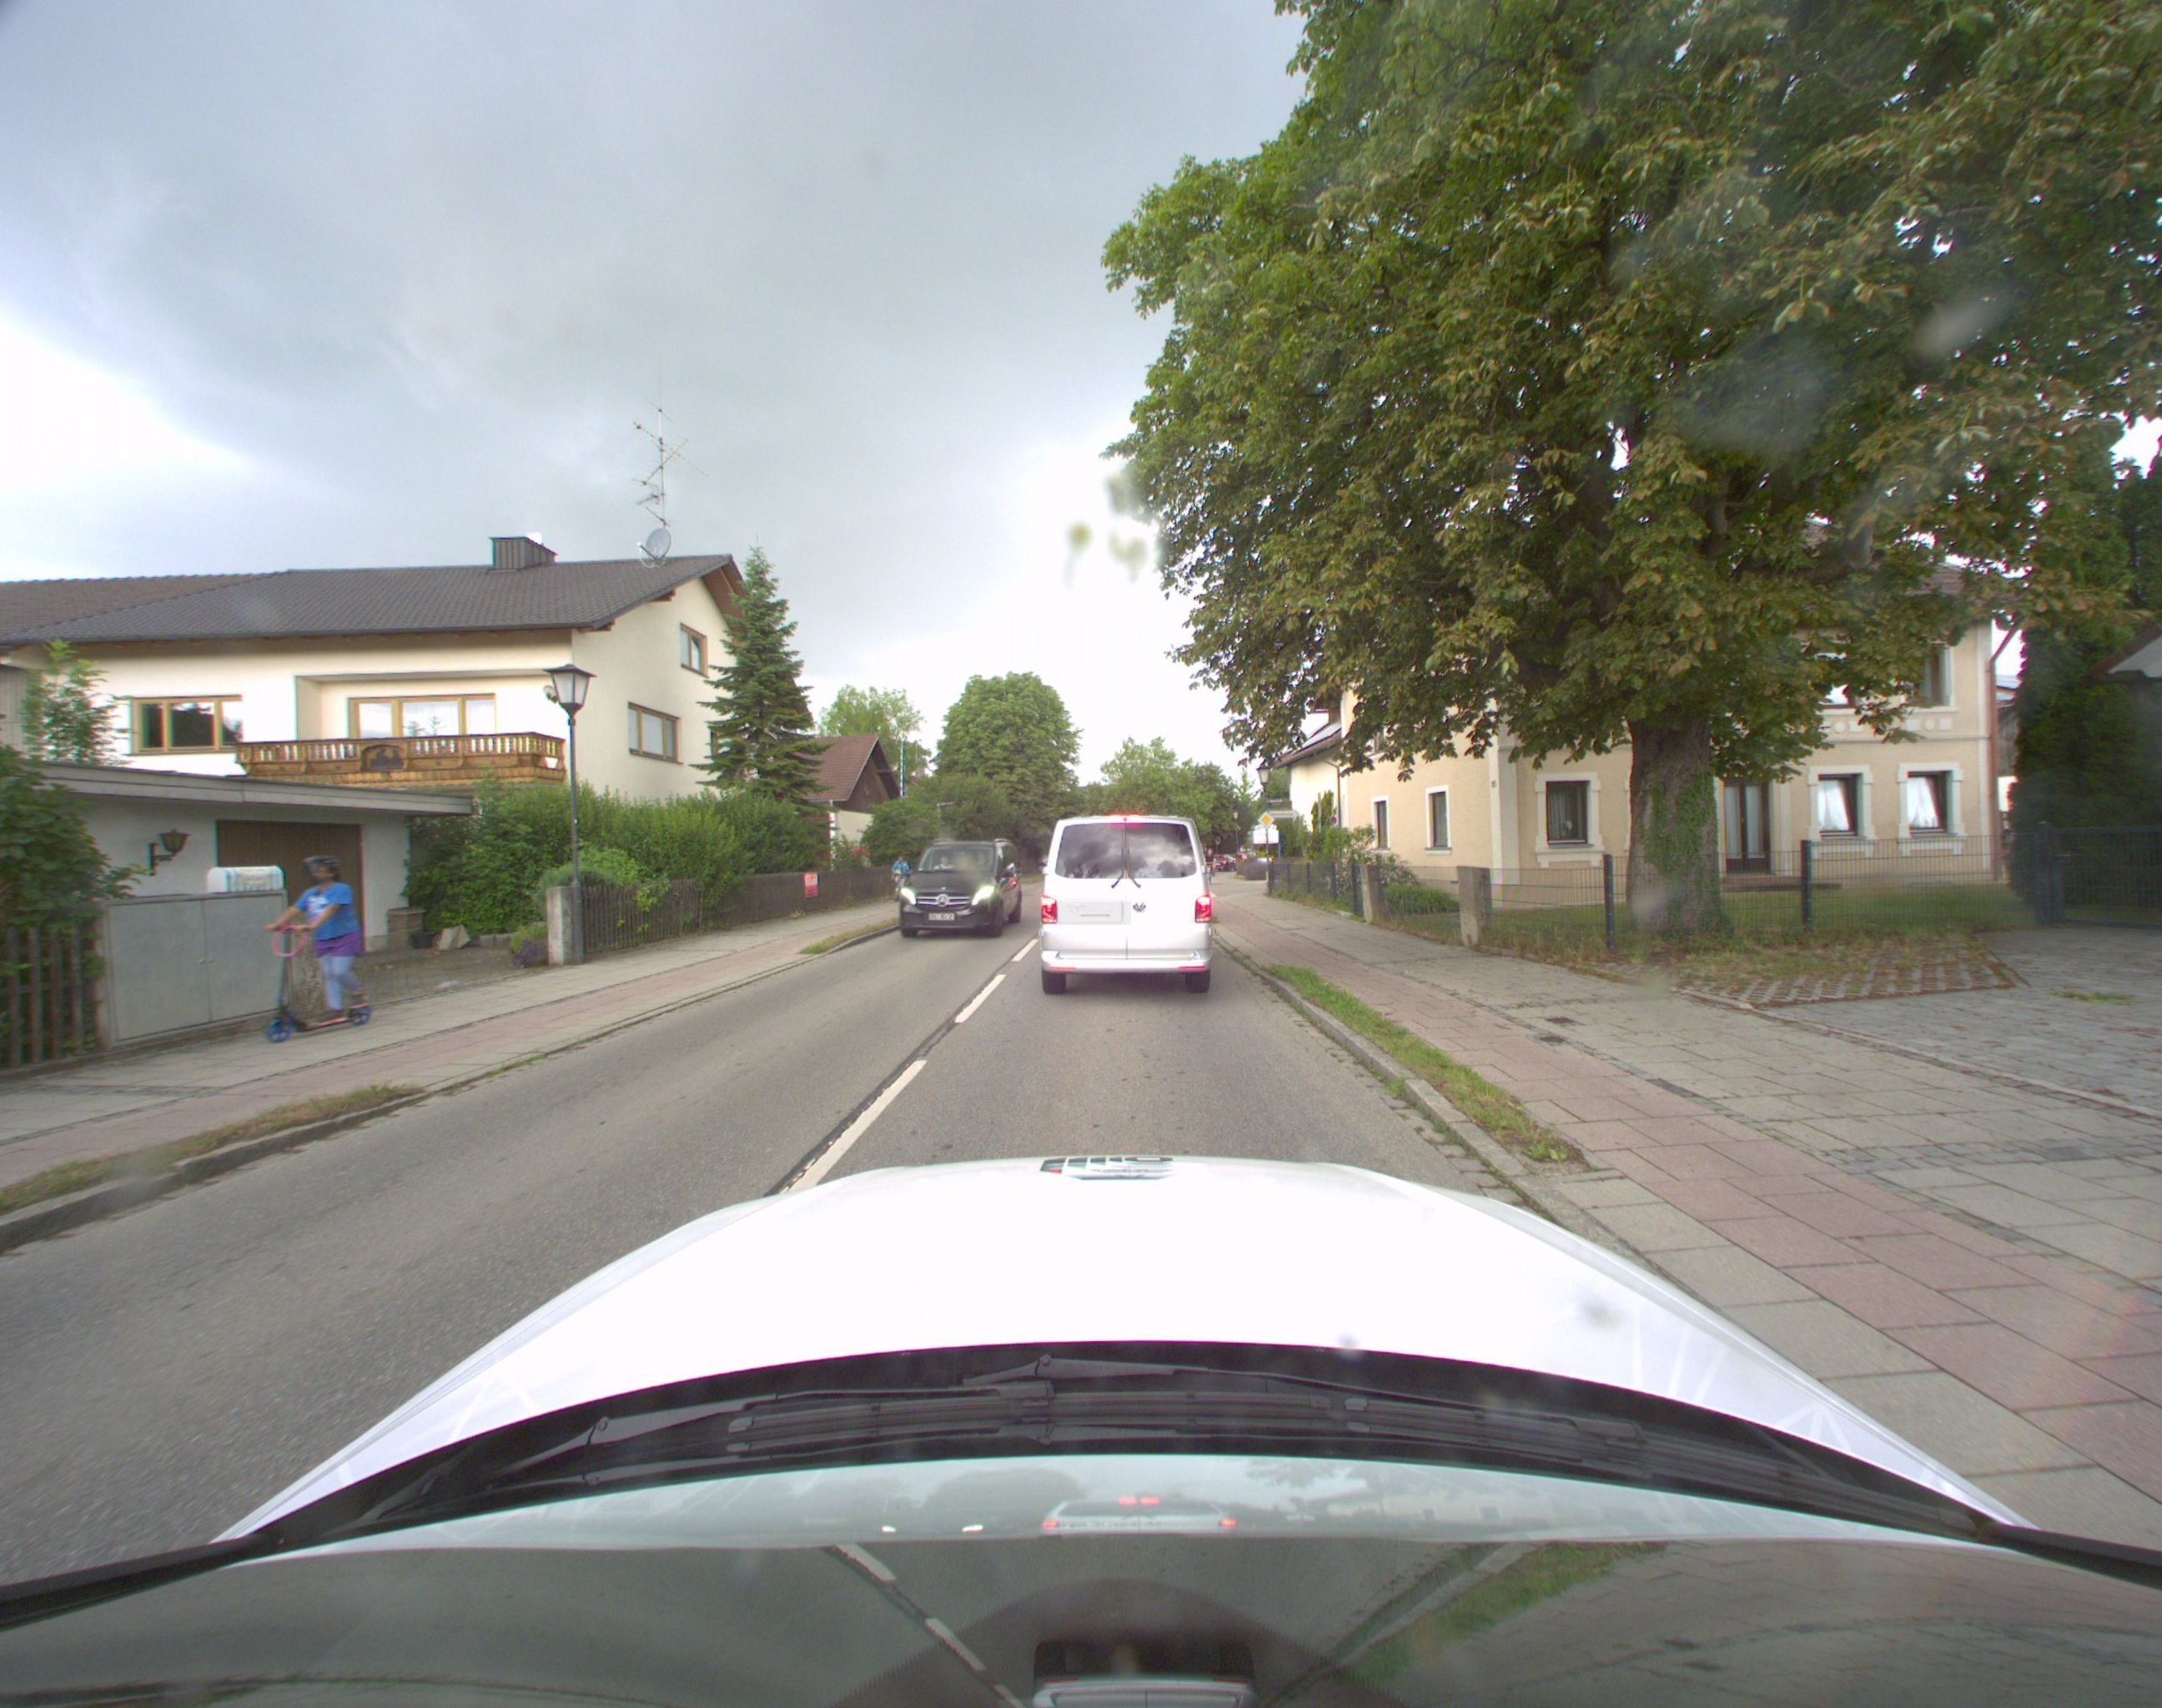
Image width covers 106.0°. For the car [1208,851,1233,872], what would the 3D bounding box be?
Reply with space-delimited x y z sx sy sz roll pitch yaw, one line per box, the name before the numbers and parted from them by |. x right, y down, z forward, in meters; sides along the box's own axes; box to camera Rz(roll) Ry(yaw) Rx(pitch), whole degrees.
car | 12.602 0.653 73.302 1.867 1.748 4.096 -2 0 15

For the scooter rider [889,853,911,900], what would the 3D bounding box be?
scooter rider | -5.815 0.705 26.220 0.500 1.489 0.716 -1 0 2

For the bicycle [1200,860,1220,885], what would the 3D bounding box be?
bicycle | 6.404 0.906 40.435 0.761 1.143 1.846 -1 0 3

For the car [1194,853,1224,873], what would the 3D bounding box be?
car | 10.459 0.741 66.322 1.867 1.535 3.937 -1 0 16

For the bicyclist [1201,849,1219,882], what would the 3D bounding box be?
bicyclist | 6.421 0.557 40.564 0.733 1.632 0.891 -1 0 3

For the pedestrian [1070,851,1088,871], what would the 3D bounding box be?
pedestrian | -0.201 0.631 73.256 1.321 1.803 1.064 -1 0 -15

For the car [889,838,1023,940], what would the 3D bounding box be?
car | -2.440 0.639 17.259 1.957 1.853 4.949 0 0 1

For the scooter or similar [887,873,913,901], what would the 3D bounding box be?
scooter or similar | -5.817 1.067 26.224 0.519 0.850 1.062 -1 0 3

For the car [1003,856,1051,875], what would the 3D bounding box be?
car | -4.551 0.968 68.635 3.982 1.486 1.996 -1 0 -6

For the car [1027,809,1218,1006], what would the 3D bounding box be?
car | 0.515 0.543 10.160 1.873 1.940 3.923 -1 0 3

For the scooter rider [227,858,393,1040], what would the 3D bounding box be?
scooter rider | -6.860 0.806 7.290 0.690 1.524 0.801 1 0 3

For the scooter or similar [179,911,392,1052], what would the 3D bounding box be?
scooter or similar | -6.880 1.066 7.120 0.658 1.037 1.179 -1 0 3
